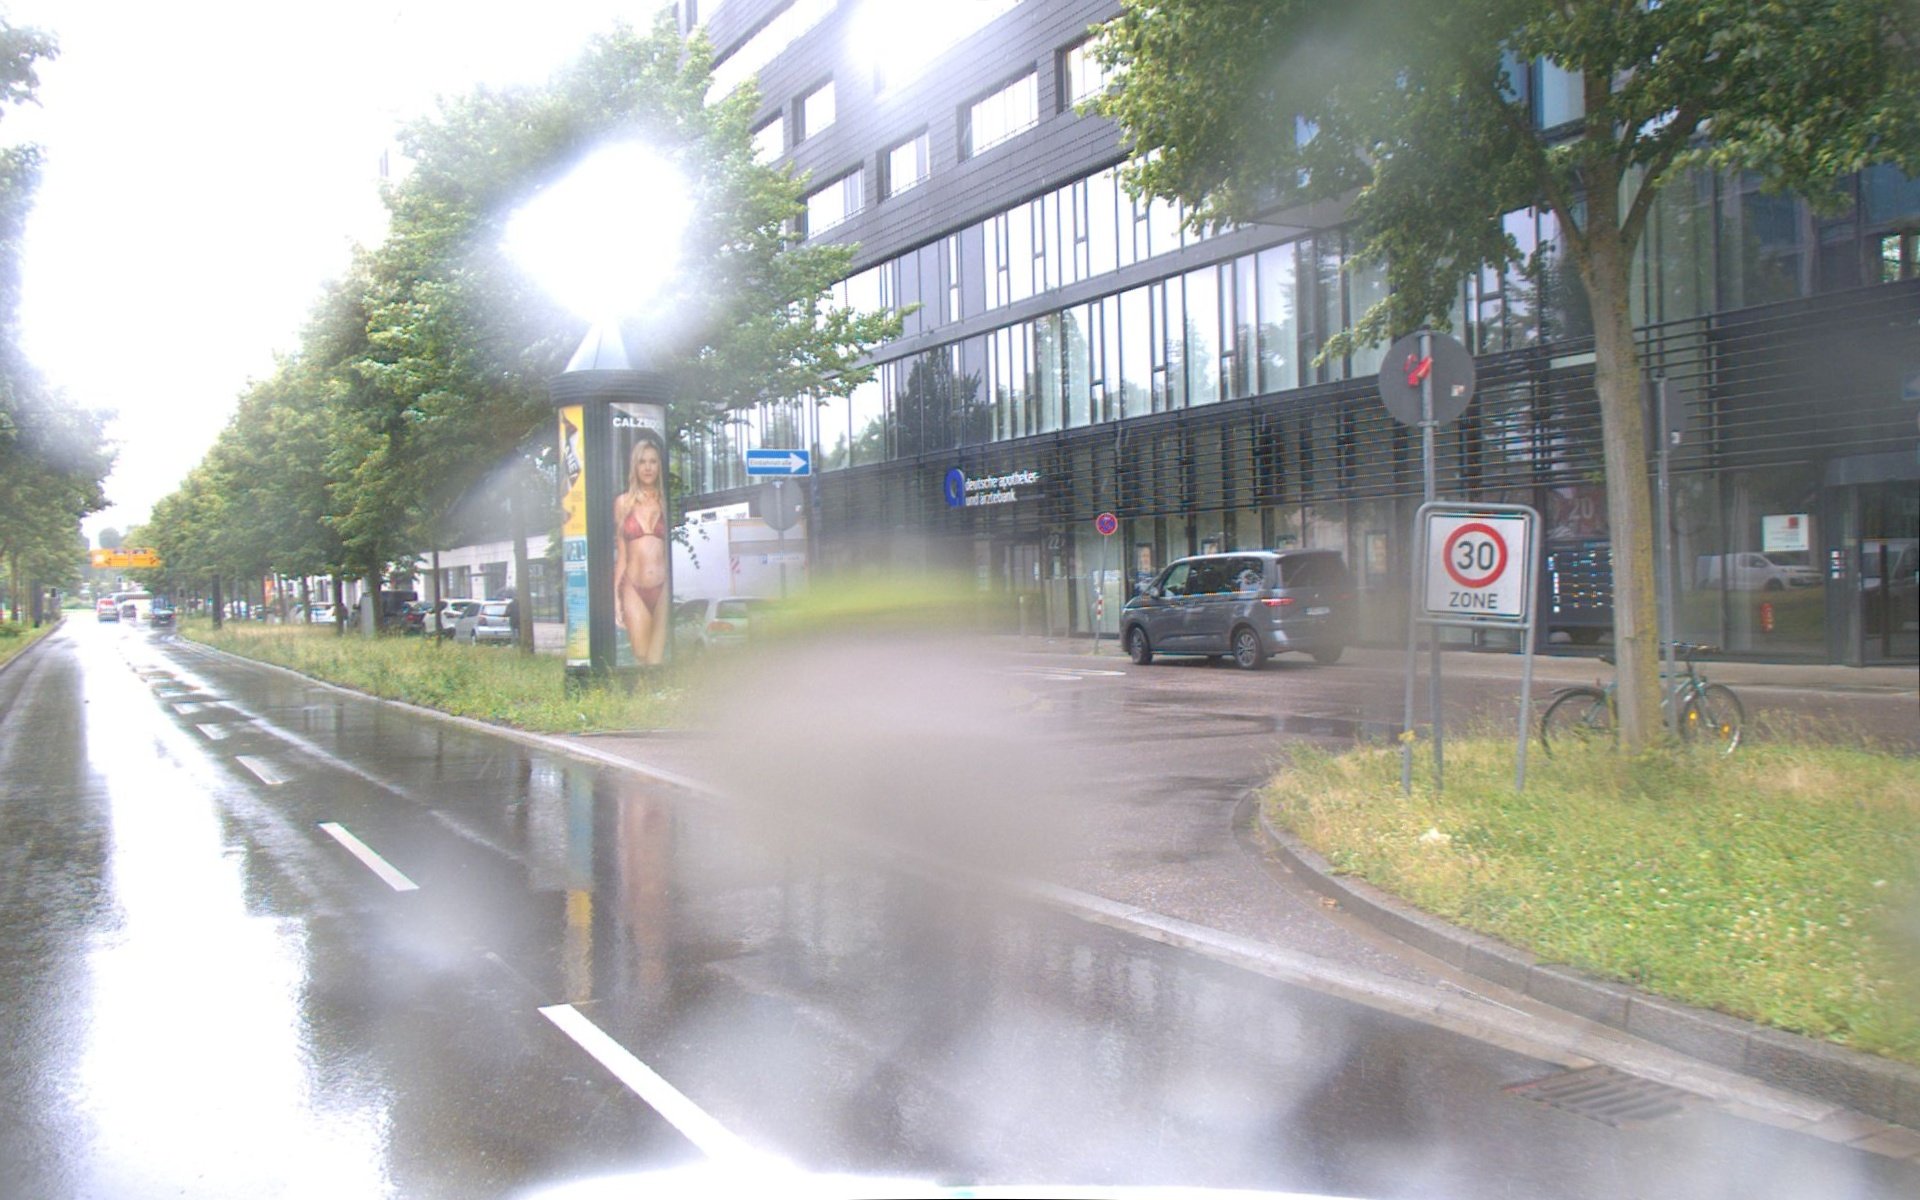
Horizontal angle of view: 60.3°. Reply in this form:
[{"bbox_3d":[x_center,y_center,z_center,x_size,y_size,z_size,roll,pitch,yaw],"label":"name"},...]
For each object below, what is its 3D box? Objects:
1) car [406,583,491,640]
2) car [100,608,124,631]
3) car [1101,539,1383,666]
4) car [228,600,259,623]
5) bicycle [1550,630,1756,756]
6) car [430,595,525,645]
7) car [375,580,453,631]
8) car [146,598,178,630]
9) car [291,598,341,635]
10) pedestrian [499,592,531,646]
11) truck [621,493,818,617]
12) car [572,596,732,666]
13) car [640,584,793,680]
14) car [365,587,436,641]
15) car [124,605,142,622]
[{"bbox_3d":[-17.586,0.338,56.736,1.971,1.698,4.681,-2,3,-28],"label":"car"},{"bbox_3d":[-87.028,1.985,169.757,1.969,2.048,3.968,-2,3,-26],"label":"car"},{"bbox_3d":[4.727,0.035,28.574,1.973,1.953,5.096,-2,1,-30],"label":"car"},{"bbox_3d":[-56.418,0.895,130.236,1.860,1.532,4.681,-2,3,-28],"label":"car"},{"bbox_3d":[5.409,0.722,12.955,1.426,0.933,0.433,-1,2,4],"label":"bicycle"},{"bbox_3d":[-15.090,0.585,51.588,1.751,1.477,4.675,-1,1,-30],"label":"car"},{"bbox_3d":[-20.577,0.168,62.216,1.971,1.698,4.914,-2,3,-28],"label":"car"},{"bbox_3d":[-57.097,1.005,118.273,1.918,2.048,3.964,-2,3,-28],"label":"car"},{"bbox_3d":[-34.945,0.859,89.671,1.971,1.698,4.681,-2,3,-28],"label":"car"},{"bbox_3d":[-12.721,0.536,47.298,0.691,1.519,0.637,-2,0,-31],"label":"pedestrian"},{"bbox_3d":[-7.612,-1.290,51.123,2.994,3.501,8.458,-2,1,-31],"label":"truck"},{"bbox_3d":[-7.235,0.683,38.442,1.974,1.469,5.182,-2,1,-31],"label":"car"},{"bbox_3d":[-4.880,0.575,32.732,1.741,1.624,4.063,-2,3,-28],"label":"car"},{"bbox_3d":[-23.233,0.537,68.575,1.971,1.986,4.984,-2,3,-28],"label":"car"},{"bbox_3d":[-109.585,1.791,219.158,1.969,2.048,3.968,-2,3,-26],"label":"car"}]
